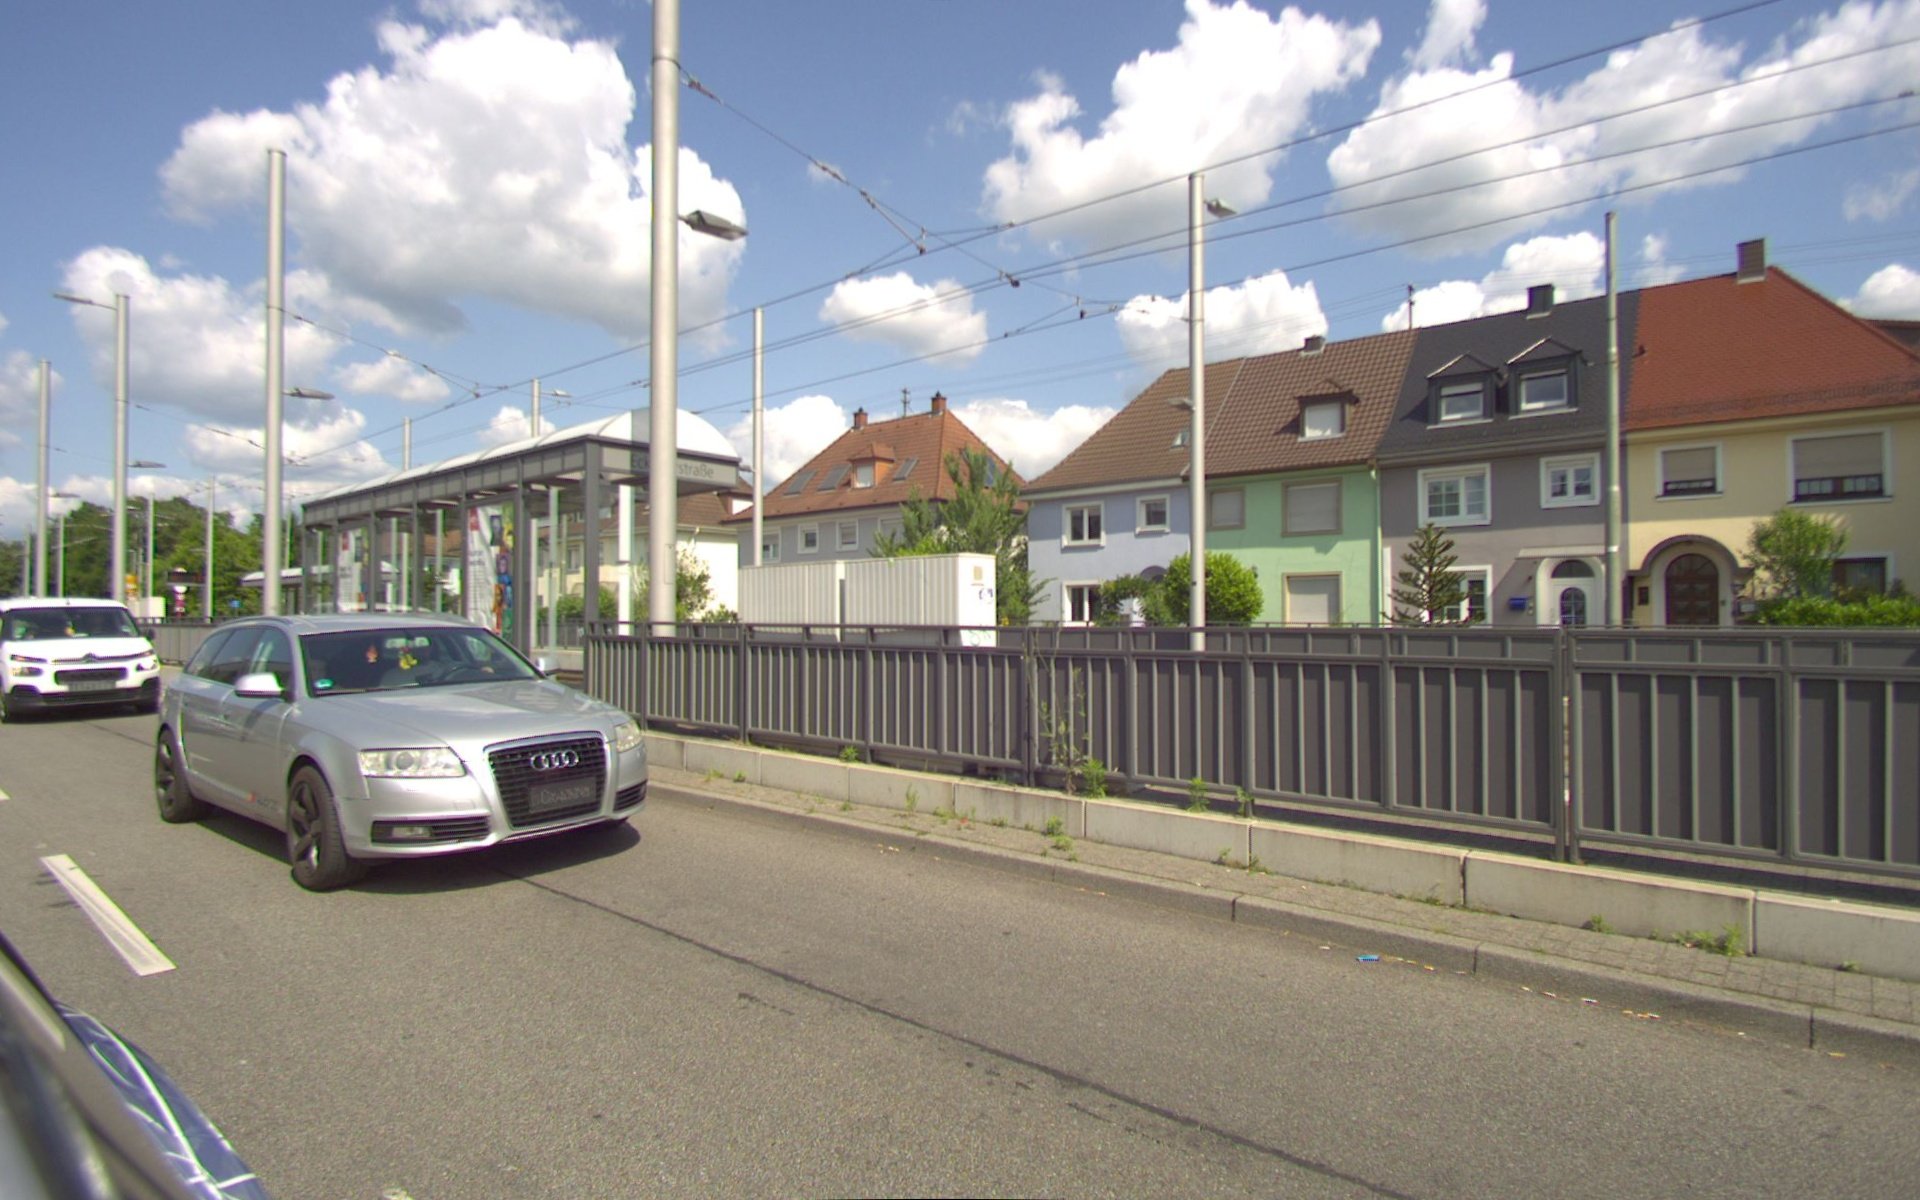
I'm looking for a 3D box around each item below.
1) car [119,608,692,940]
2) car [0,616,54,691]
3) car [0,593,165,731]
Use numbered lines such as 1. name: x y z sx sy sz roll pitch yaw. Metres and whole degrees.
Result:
1. car: -3.968 0.816 6.815 4.718 1.483 1.777 -1 0 40
2. car: -20.894 1.127 21.687 3.389 1.515 1.660 -1 0 38
3. car: -13.856 0.833 15.517 4.326 1.829 1.776 -1 0 40
